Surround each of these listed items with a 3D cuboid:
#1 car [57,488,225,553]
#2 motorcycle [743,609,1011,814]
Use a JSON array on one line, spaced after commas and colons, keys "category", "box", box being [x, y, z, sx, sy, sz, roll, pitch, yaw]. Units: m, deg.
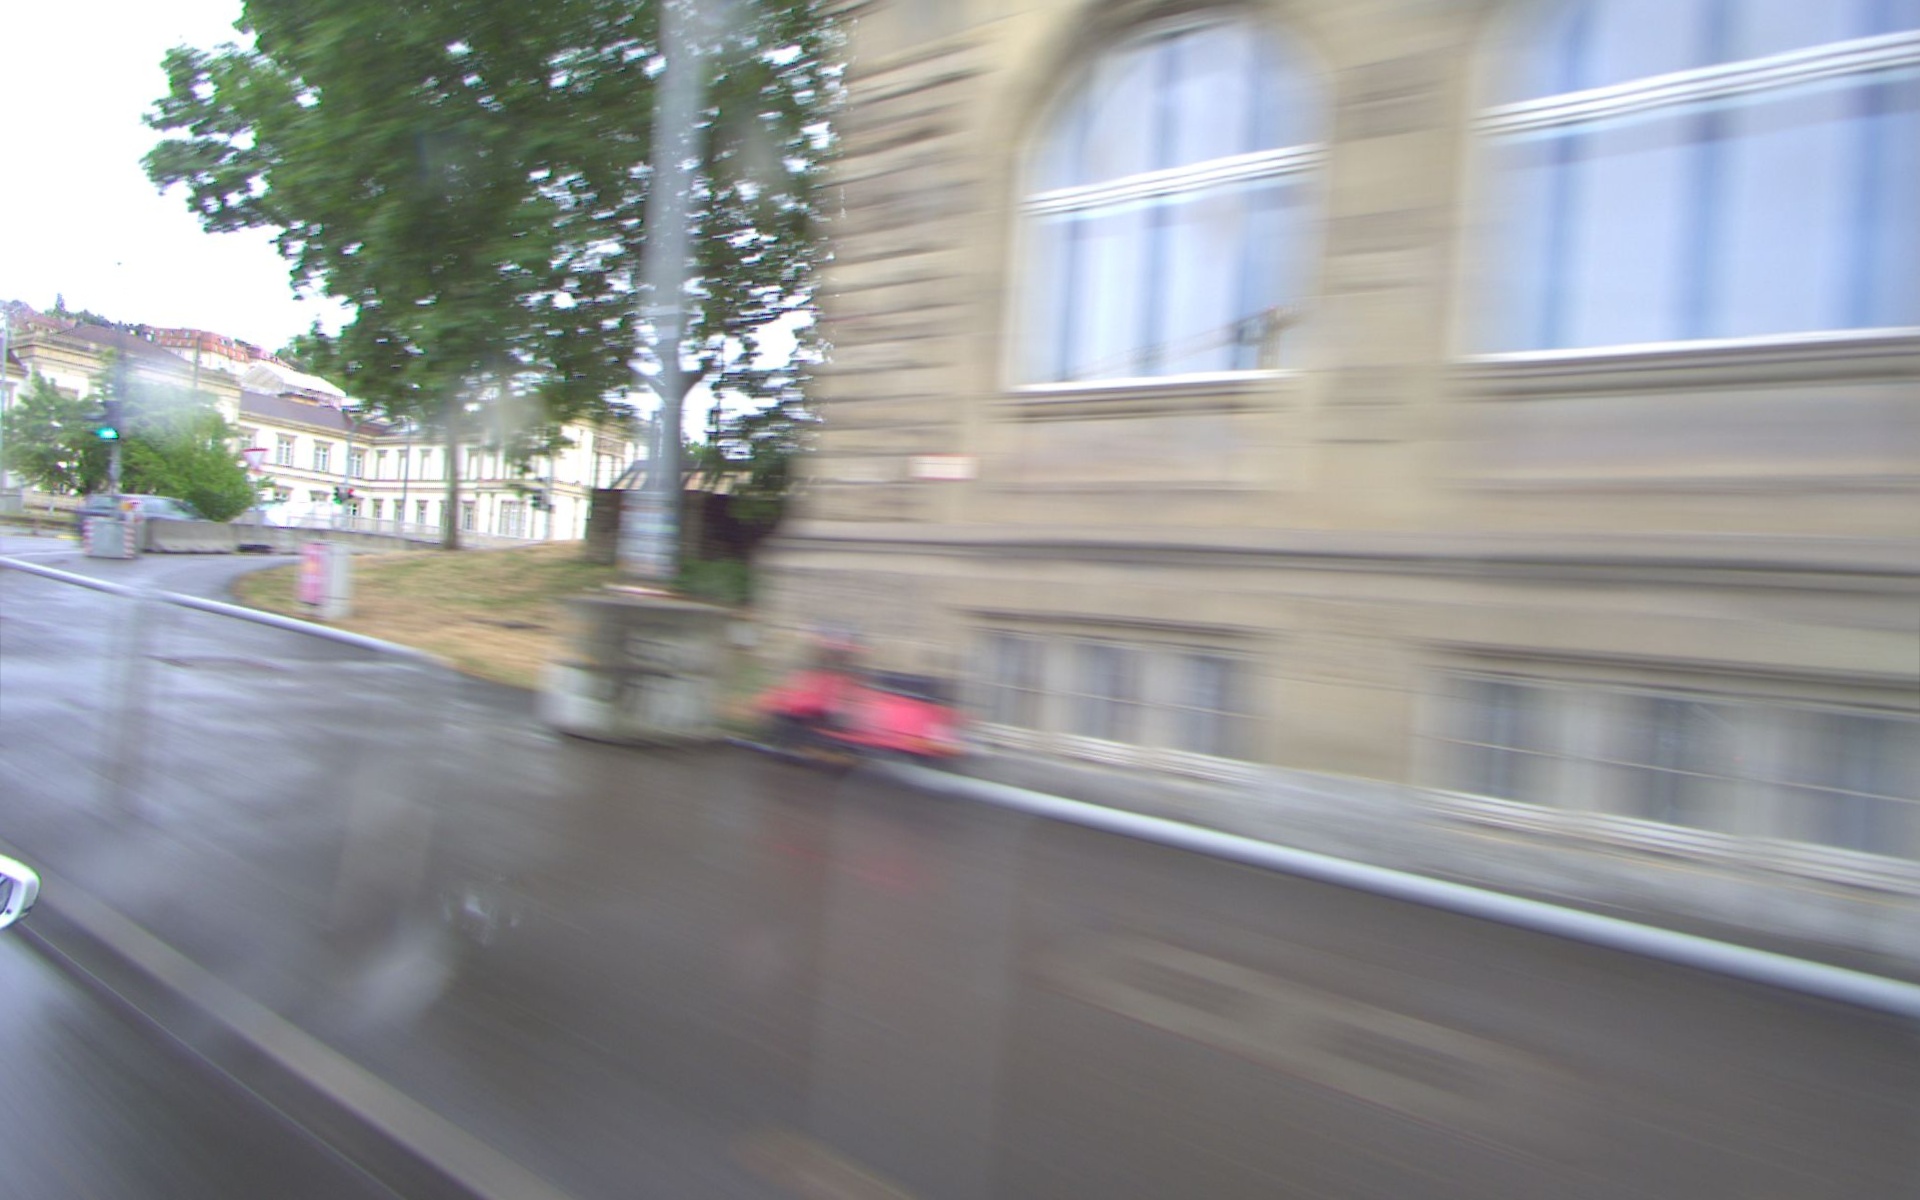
[{"category": "car", "box": [-22.100, -2.091, 27.331, 1.646, 1.446, 3.750, 7, 2, -5]}, {"category": "motorcycle", "box": [-0.633, 0.743, 7.258, 1.867, 1.153, 0.547, 7, 1, 32]}]
